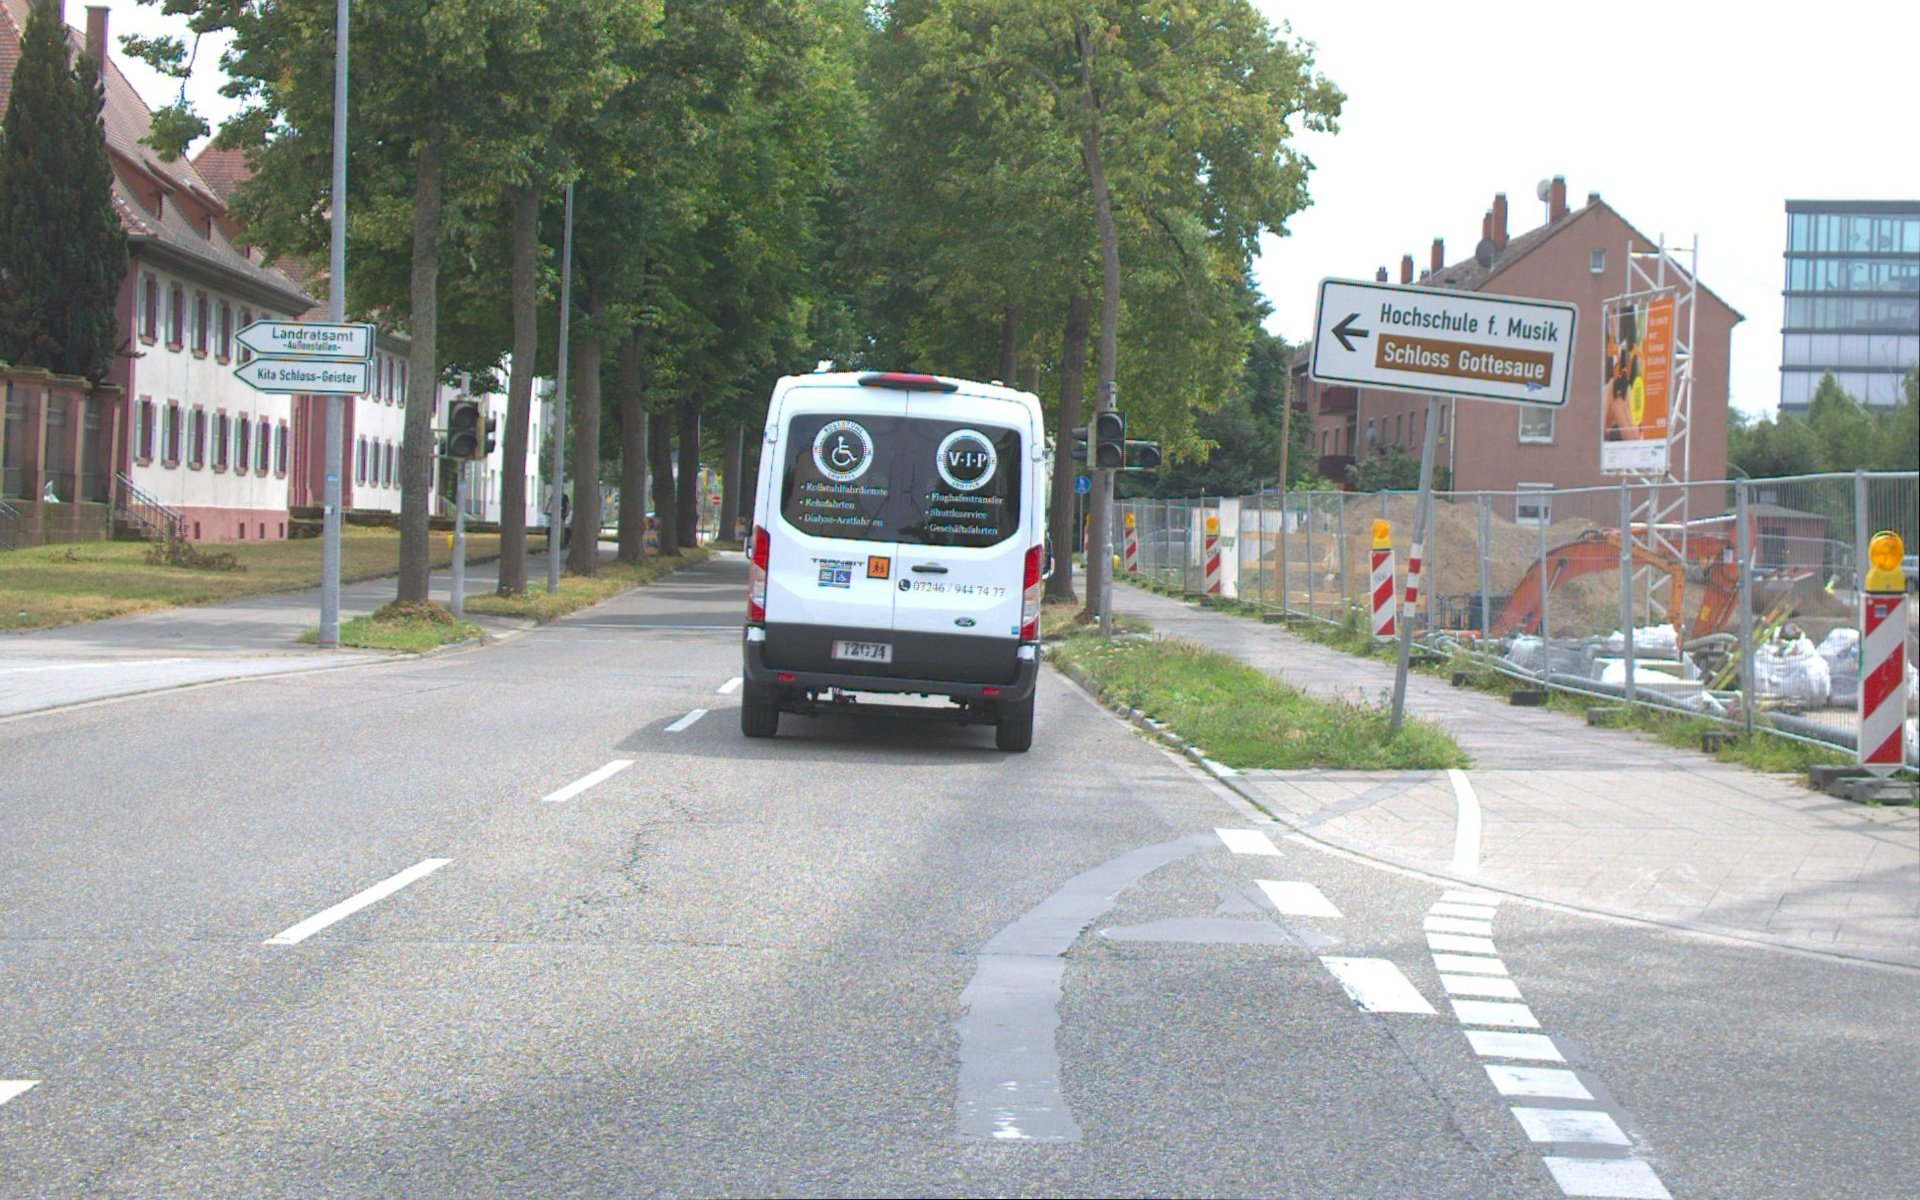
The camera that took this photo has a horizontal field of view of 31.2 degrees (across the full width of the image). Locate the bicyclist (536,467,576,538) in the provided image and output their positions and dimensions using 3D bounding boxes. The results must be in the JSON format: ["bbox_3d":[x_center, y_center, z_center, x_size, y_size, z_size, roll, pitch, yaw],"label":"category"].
[{"bbox_3d":[-9.844,-2.388,83.780,0.722,1.650,0.958,6,1,-2],"label":"bicyclist"}]

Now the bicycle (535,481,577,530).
[{"bbox_3d":[-9.844,-2.308,83.769,0.722,1.091,2.152,6,2,-2],"label":"bicycle"}]

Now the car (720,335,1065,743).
[{"bbox_3d":[-0.579,-0.453,24.498,2.062,2.531,4.001,4,1,-4],"label":"car"}]

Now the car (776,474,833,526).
[{"bbox_3d":[-5.499,-3.540,122.062,1.771,1.653,4.256,0,-1,1],"label":"car"}]

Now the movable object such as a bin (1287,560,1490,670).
[{"bbox_3d":[10.701,0.341,85.559,4.685,2.581,3.131,1,1,13],"label":"movable object such as a bin"}]

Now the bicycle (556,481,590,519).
[{"bbox_3d":[-11.714,-3.029,104.067,0.722,1.091,2.226,6,2,-2],"label":"bicycle"}]
